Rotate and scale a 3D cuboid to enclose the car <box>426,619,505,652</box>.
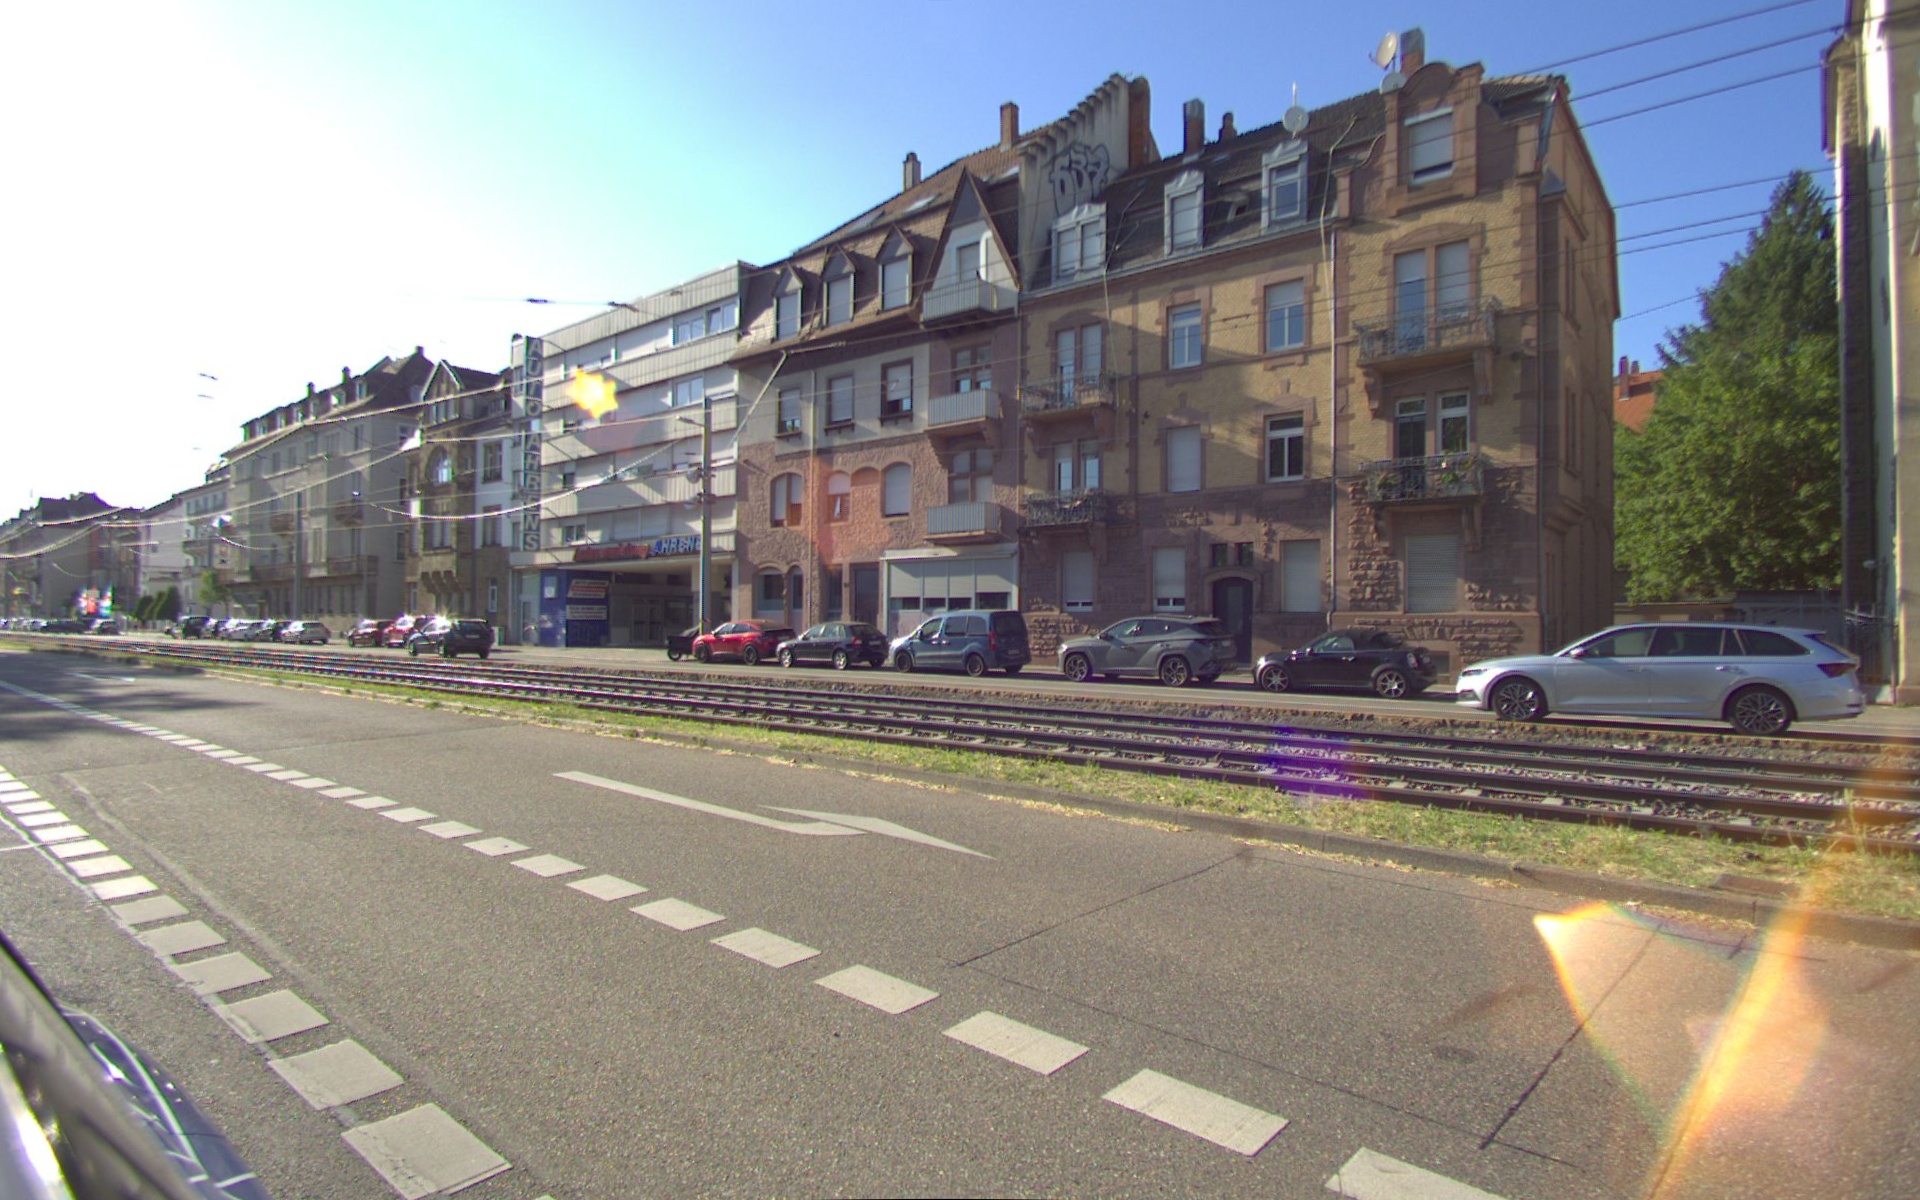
[{"bbox_3d":[-24.363,1.744,49.776,4.377,1.510,1.838,-1,0,39],"label":"car"}]

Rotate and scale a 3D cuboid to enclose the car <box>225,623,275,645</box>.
[{"bbox_3d":[-49.177,2.323,70.100,3.529,1.457,1.624,-1,-1,33],"label":"car"}]

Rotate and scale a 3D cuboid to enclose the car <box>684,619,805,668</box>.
[{"bbox_3d":[-7.499,1.459,35.042,4.206,1.510,1.838,-1,1,39],"label":"car"}]

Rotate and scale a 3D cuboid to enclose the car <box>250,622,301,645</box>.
[{"bbox_3d":[-45.798,2.219,67.694,3.818,1.441,1.780,-1,-1,38],"label":"car"}]

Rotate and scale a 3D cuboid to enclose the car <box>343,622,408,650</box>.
[{"bbox_3d":[-32.676,1.986,56.556,3.720,1.507,1.737,-1,0,34],"label":"car"}]

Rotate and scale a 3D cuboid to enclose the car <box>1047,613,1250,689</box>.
[{"bbox_3d":[4.517,1.181,24.606,4.498,1.635,1.838,-1,1,39],"label":"car"}]

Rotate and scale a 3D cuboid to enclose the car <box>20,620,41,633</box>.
[{"bbox_3d":[-116.661,3.334,127.004,3.447,1.602,1.603,-1,-1,40],"label":"car"}]

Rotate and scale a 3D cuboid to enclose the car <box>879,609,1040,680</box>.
[{"bbox_3d":[-0.076,1.186,28.434,4.417,1.772,1.865,-1,1,42],"label":"car"}]

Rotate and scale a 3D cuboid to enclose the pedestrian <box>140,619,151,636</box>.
[{"bbox_3d":[-83.990,2.835,104.336,0.677,1.803,0.716,-1,-3,39],"label":"pedestrian"}]

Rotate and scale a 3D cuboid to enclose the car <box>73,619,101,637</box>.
[{"bbox_3d":[-93.485,2.981,108.374,3.878,1.800,1.706,-1,-1,40],"label":"car"}]

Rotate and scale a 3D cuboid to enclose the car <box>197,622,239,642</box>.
[{"bbox_3d":[-57.014,2.452,77.787,3.820,1.490,1.779,-1,-1,41],"label":"car"}]

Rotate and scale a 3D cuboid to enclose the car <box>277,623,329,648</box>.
[{"bbox_3d":[-41.732,2.239,64.296,3.820,1.490,1.779,-1,-1,41],"label":"car"}]

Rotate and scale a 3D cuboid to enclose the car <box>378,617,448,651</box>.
[{"bbox_3d":[-28.803,1.753,53.221,4.260,1.700,1.837,-1,0,41],"label":"car"}]

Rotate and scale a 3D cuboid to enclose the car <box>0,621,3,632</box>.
[{"bbox_3d":[-143.048,3.962,149.911,3.447,1.602,1.603,-1,-1,40],"label":"car"}]

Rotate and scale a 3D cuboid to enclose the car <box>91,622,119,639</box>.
[{"bbox_3d":[-85.815,3.038,101.547,3.386,1.583,1.663,-1,-1,40],"label":"car"}]

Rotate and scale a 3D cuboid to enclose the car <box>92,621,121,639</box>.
[{"bbox_3d":[-82.259,2.885,97.523,3.405,1.644,1.656,-1,-1,41],"label":"car"}]

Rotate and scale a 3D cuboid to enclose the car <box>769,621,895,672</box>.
[{"bbox_3d":[-4.054,1.422,31.788,3.924,1.448,1.678,-1,1,39],"label":"car"}]

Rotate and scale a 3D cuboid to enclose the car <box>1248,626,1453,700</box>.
[{"bbox_3d":[8.221,1.269,21.450,3.722,1.364,1.606,-1,1,39],"label":"car"}]

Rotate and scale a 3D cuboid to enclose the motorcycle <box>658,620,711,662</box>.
[{"bbox_3d":[-10.205,1.508,37.560,0.628,1.433,1.836,-2,-1,40],"label":"motorcycle"}]

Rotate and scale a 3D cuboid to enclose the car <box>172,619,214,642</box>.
[{"bbox_3d":[-61.373,2.432,80.955,3.913,1.750,1.852,-1,-1,41],"label":"car"}]

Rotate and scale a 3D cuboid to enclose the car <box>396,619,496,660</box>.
[{"bbox_3d":[-19.459,1.469,38.246,4.161,1.468,1.802,-1,-2,39],"label":"car"}]

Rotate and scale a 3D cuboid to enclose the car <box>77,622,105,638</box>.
[{"bbox_3d":[-89.633,3.073,104.382,3.386,1.583,1.663,-1,-1,40],"label":"car"}]

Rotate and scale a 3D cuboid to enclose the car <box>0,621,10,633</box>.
[{"bbox_3d":[-139.204,3.920,146.850,3.447,1.602,1.603,-1,-1,40],"label":"car"}]

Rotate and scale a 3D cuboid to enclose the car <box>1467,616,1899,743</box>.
[{"bbox_3d":[9.578,0.970,13.808,4.532,1.468,1.803,-1,-2,37],"label":"car"}]
